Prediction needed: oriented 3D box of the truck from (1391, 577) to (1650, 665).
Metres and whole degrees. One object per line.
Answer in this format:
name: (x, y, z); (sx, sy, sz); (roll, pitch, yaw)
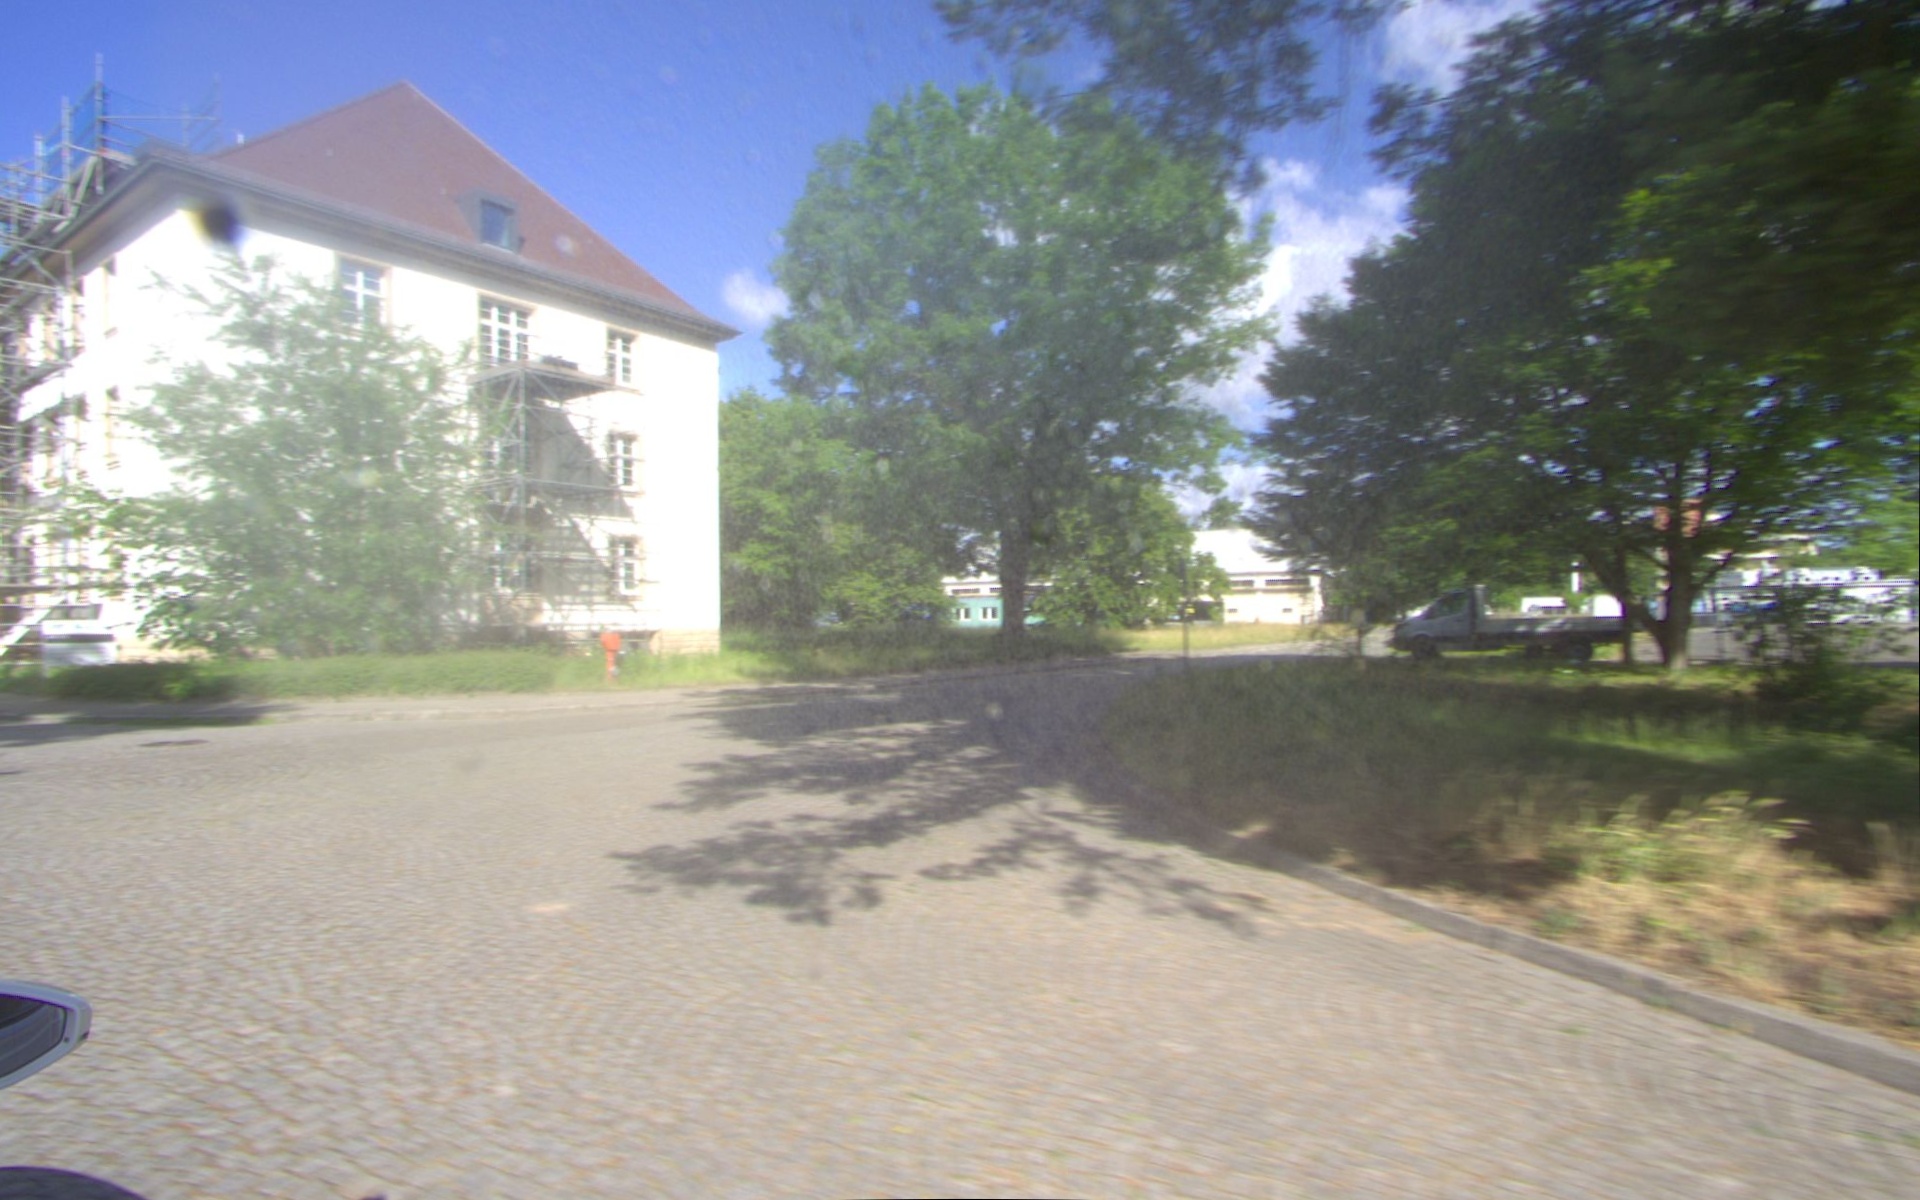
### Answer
truck: (17.205, 0.686, 30.987); (6.794, 2.454, 2.227); (-1, -2, 35)
